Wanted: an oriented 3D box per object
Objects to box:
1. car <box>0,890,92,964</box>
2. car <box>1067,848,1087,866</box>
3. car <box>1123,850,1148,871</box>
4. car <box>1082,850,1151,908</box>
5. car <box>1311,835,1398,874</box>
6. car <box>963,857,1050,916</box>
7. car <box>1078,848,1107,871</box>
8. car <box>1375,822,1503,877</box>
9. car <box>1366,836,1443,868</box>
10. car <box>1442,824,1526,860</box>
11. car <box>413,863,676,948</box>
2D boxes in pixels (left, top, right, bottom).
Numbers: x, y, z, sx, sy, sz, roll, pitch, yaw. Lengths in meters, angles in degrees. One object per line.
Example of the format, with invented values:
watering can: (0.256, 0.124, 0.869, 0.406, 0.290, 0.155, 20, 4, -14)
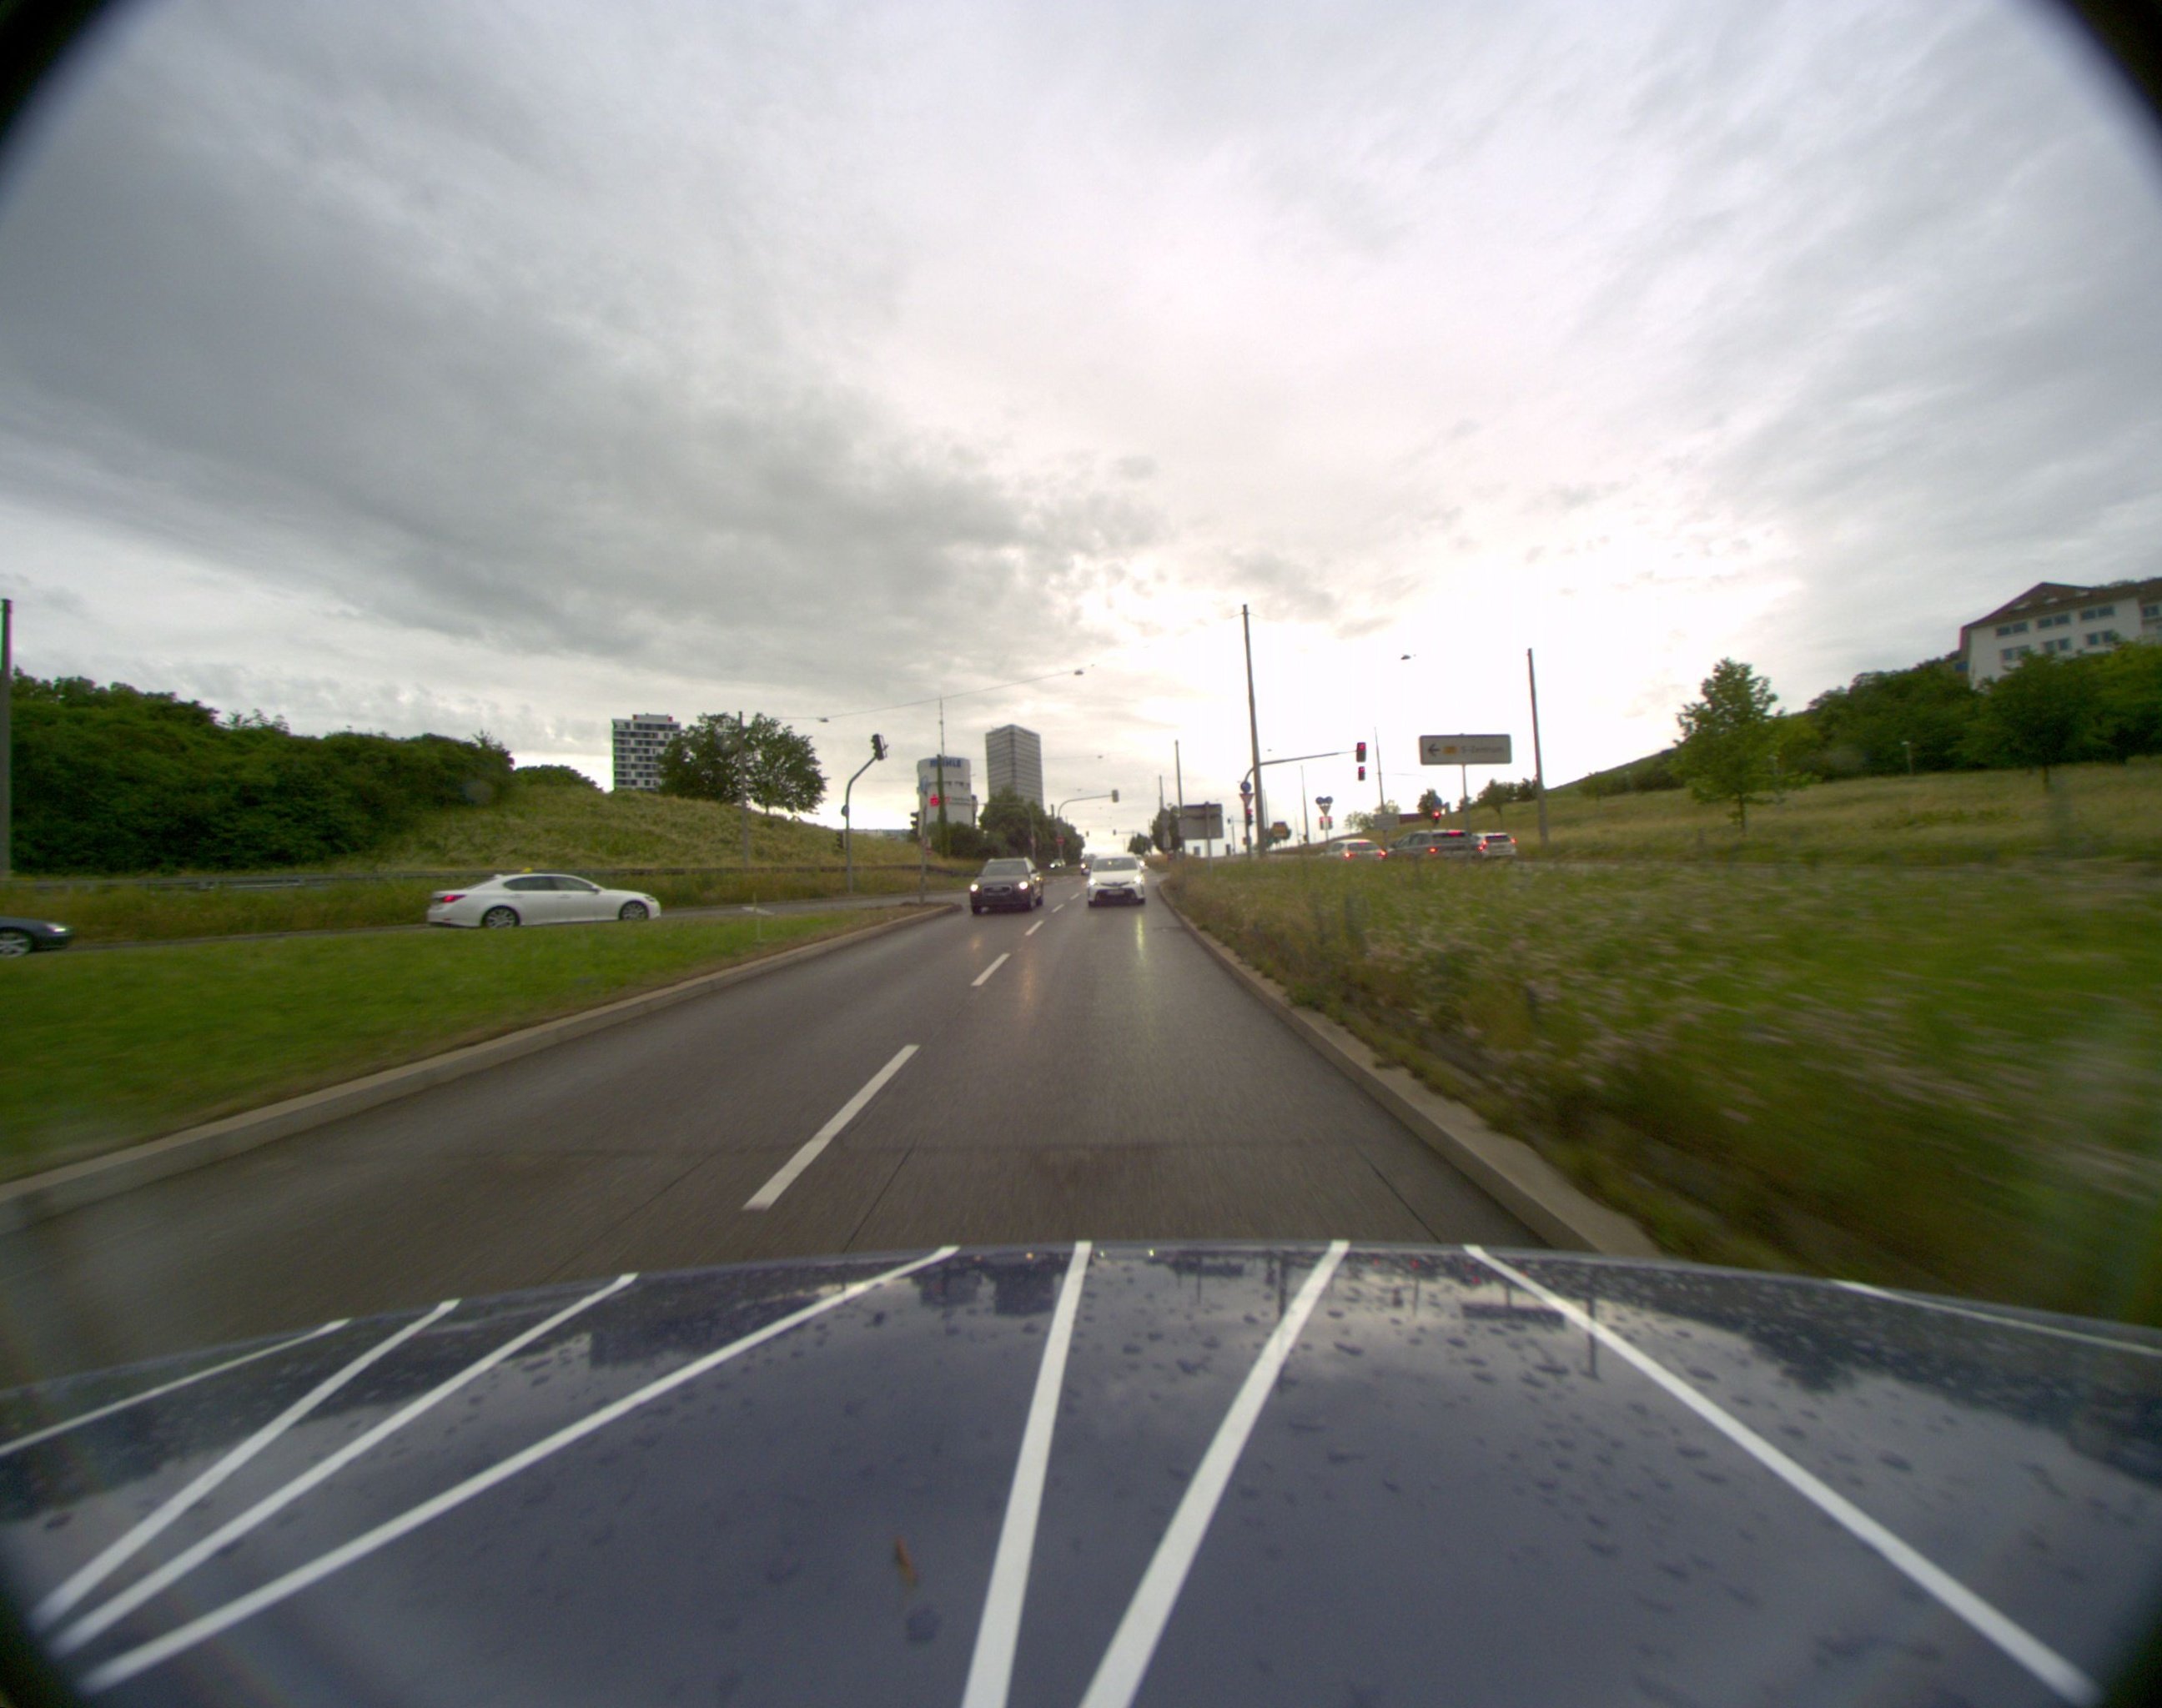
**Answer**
car: (-21.803, 1.429, 13.816, 1.838, 1.342, 4.563, -3, -2, 35)
car: (-0.424, 0.290, 91.632, 1.998, 2.002, 4.001, -4, 0, 4)
car: (4.811, 0.615, 67.776, 1.998, 1.761, 4.001, 0, -1, 2)
car: (1.231, 0.722, 24.527, 1.923, 1.604, 4.377, -2, 0, 6)
car: (11.279, 0.018, 31.728, 1.966, 1.414, 4.437, -4, 0, 0)
car: (-2.209, 0.932, 23.732, 1.927, 1.591, 4.280, -3, 0, 5)
car: (0.898, 0.410, 57.511, 1.781, 1.591, 3.901, -3, 0, 5)
car: (11.443, -0.134, 24.697, 1.998, 1.503, 4.437, -4, 0, 0)
car: (14.669, -0.097, 34.693, 1.807, 1.299, 4.018, -2, 0, 0)
car: (20.984, -0.582, 39.844, 1.998, 1.634, 4.799, -4, 0, 3)
car: (-13.346, 1.192, 19.219, 2.069, 1.636, 4.999, -2, 1, 40)
